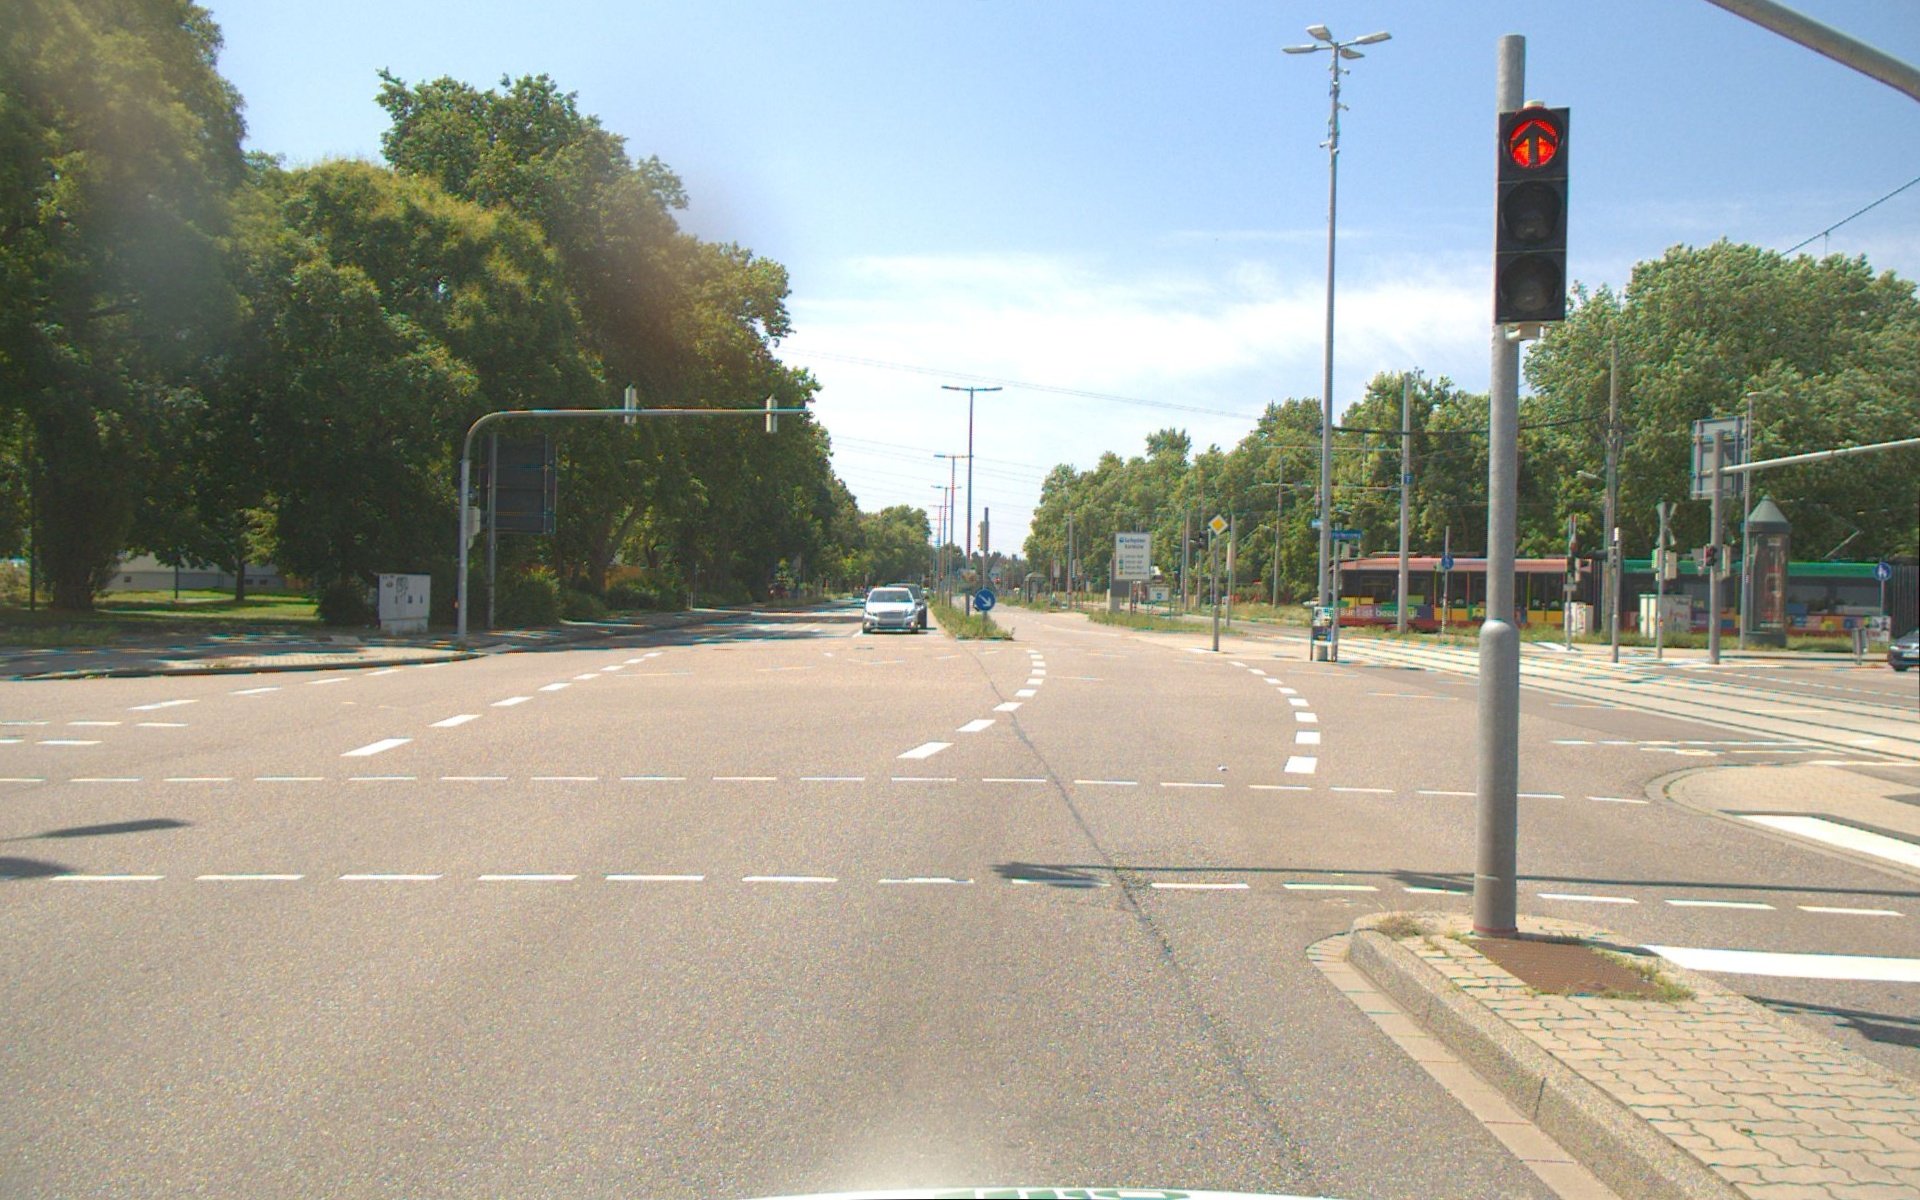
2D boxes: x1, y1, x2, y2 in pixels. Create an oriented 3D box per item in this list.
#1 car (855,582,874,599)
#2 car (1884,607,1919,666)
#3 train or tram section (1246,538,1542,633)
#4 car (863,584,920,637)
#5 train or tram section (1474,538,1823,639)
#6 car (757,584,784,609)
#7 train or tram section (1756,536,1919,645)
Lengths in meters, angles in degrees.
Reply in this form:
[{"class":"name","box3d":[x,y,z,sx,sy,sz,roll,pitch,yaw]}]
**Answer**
[{"class":"car","box3d":[-8.899,-0.922,154.608,1.637,1.516,3.710,1,0,-1]},{"class":"car","box3d":[26.013,0.968,43.453,3.465,1.488,1.622,1,0,-33]},{"class":"train or tram section","box3d":[19.398,-0.626,74.797,12.820,3.878,2.910,0,-3,38]},{"class":"car","box3d":[-2.211,0.322,54.327,1.748,1.657,3.864,1,0,-1]},{"class":"train or tram section","box3d":[28.472,-0.528,69.018,13.144,3.878,2.922,1,-3,24]},{"class":"car","box3d":[-16.551,-0.310,144.595,1.955,2.048,3.997,4,0,-4]},{"class":"train or tram section","box3d":[39.918,-0.180,67.890,13.732,3.988,2.918,3,-3,-8]}]
